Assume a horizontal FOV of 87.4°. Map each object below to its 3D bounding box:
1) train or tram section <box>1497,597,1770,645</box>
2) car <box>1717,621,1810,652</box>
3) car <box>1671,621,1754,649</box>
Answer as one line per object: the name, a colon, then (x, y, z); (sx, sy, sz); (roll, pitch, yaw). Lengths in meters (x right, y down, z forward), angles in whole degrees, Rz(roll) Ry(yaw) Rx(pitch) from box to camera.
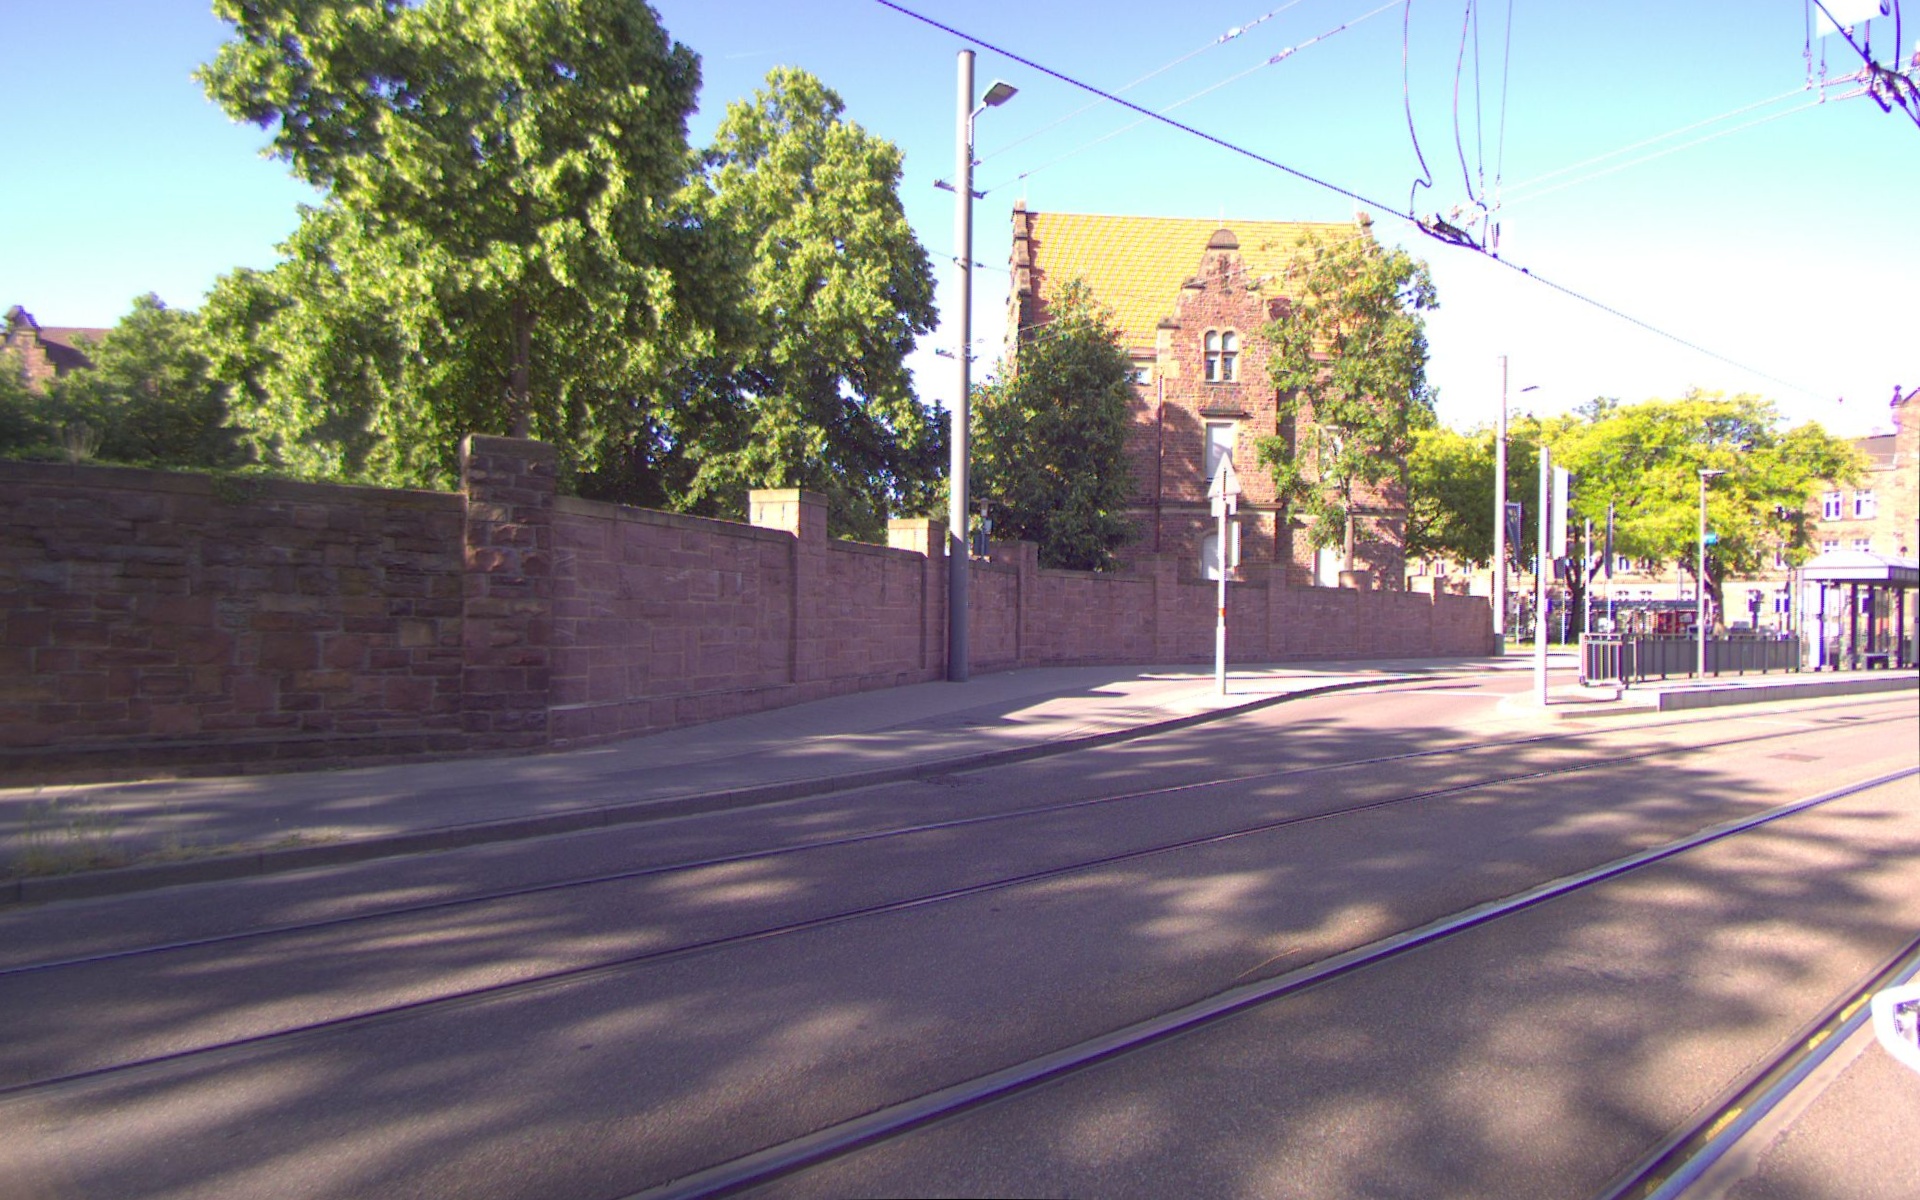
train or tram section: (50.037, 1.477, 75.888); (3.312, 3.196, 17.280); (2, -1, -33)
car: (47.762, 2.175, 59.800); (1.798, 1.651, 3.964); (2, 0, -32)
car: (49.187, 2.259, 65.684); (1.798, 1.651, 3.964); (2, 0, -32)
